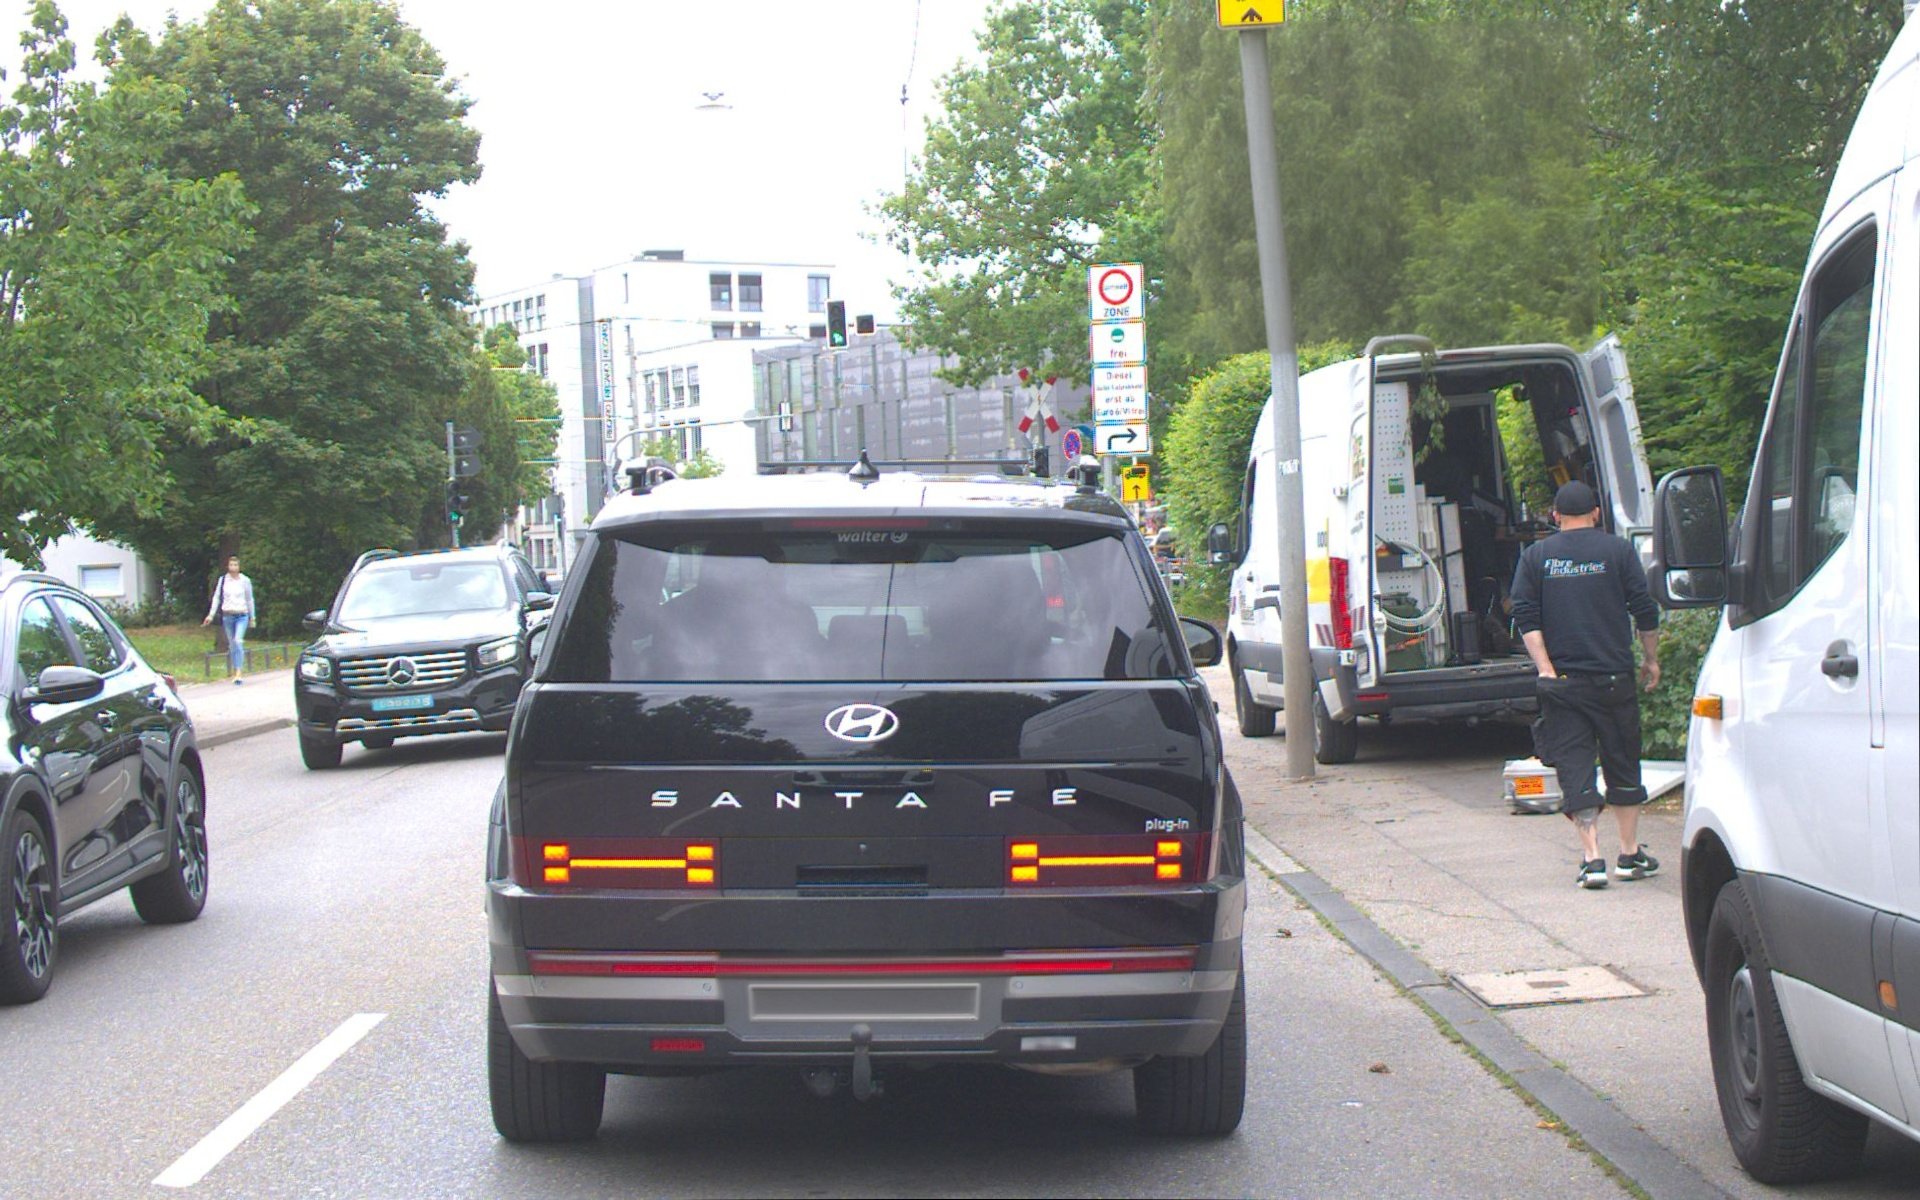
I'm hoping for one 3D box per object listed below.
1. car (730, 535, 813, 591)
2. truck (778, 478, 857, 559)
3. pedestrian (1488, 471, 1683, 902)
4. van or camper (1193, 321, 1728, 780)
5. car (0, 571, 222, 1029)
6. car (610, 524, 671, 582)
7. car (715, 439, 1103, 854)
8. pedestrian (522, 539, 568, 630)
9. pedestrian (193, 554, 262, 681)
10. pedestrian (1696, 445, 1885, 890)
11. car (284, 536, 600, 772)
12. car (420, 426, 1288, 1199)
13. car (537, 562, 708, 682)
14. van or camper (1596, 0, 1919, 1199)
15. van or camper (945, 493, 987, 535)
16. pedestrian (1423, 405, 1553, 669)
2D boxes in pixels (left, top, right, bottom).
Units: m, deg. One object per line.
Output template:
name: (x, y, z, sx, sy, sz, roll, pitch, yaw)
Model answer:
car: (-5.484, -1.099, 100.587, 1.838, 1.533, 4.267, -1, 1, 5)
truck: (-7.105, -3.985, 170.295, 3.107, 3.846, 9.623, -2, 1, -6)
pedestrian: (2.581, 0.334, 14.129, 0.750, 1.715, 0.791, 0, 1, 12)
van or camper: (3.146, -0.287, 23.348, 2.340, 2.486, 6.603, -5, 0, -1)
car: (-4.017, 0.689, 12.649, 1.701, 1.478, 4.000, -4, 1, -1)
car: (-13.222, -1.943, 142.036, 2.332, 2.307, 4.959, -2, 1, -6)
car: (-0.273, 0.212, 19.135, 1.897, 2.035, 3.994, 1, 1, -1)
pedestrian: (-9.212, -0.345, 76.292, 0.830, 2.007, 1.047, 1, 0, 2)
pedestrian: (-10.195, 0.232, 47.878, 0.767, 1.742, 0.904, 0, 0, -1)
pedestrian: (3.366, 0.269, 13.910, 0.648, 1.745, 0.654, -2, 0, 18)
car: (-4.090, 0.381, 27.787, 1.880, 1.639, 4.128, -4, 1, -1)
car: (-0.256, 0.496, 9.641, 1.897, 1.770, 3.994, 1, 1, -1)
car: (-4.555, 0.262, 46.971, 1.814, 1.414, 4.829, -5, 1, -1)
van or camper: (2.665, 0.038, 5.057, 1.991, 2.616, 6.544, -4, 1, -1)
van or camper: (0.279, -4.236, 170.560, 1.795, 1.992, 3.824, 1, 1, -4)
pedestrian: (3.401, -0.401, 22.173, 0.736, 1.638, 0.801, -3, 0, 9)
